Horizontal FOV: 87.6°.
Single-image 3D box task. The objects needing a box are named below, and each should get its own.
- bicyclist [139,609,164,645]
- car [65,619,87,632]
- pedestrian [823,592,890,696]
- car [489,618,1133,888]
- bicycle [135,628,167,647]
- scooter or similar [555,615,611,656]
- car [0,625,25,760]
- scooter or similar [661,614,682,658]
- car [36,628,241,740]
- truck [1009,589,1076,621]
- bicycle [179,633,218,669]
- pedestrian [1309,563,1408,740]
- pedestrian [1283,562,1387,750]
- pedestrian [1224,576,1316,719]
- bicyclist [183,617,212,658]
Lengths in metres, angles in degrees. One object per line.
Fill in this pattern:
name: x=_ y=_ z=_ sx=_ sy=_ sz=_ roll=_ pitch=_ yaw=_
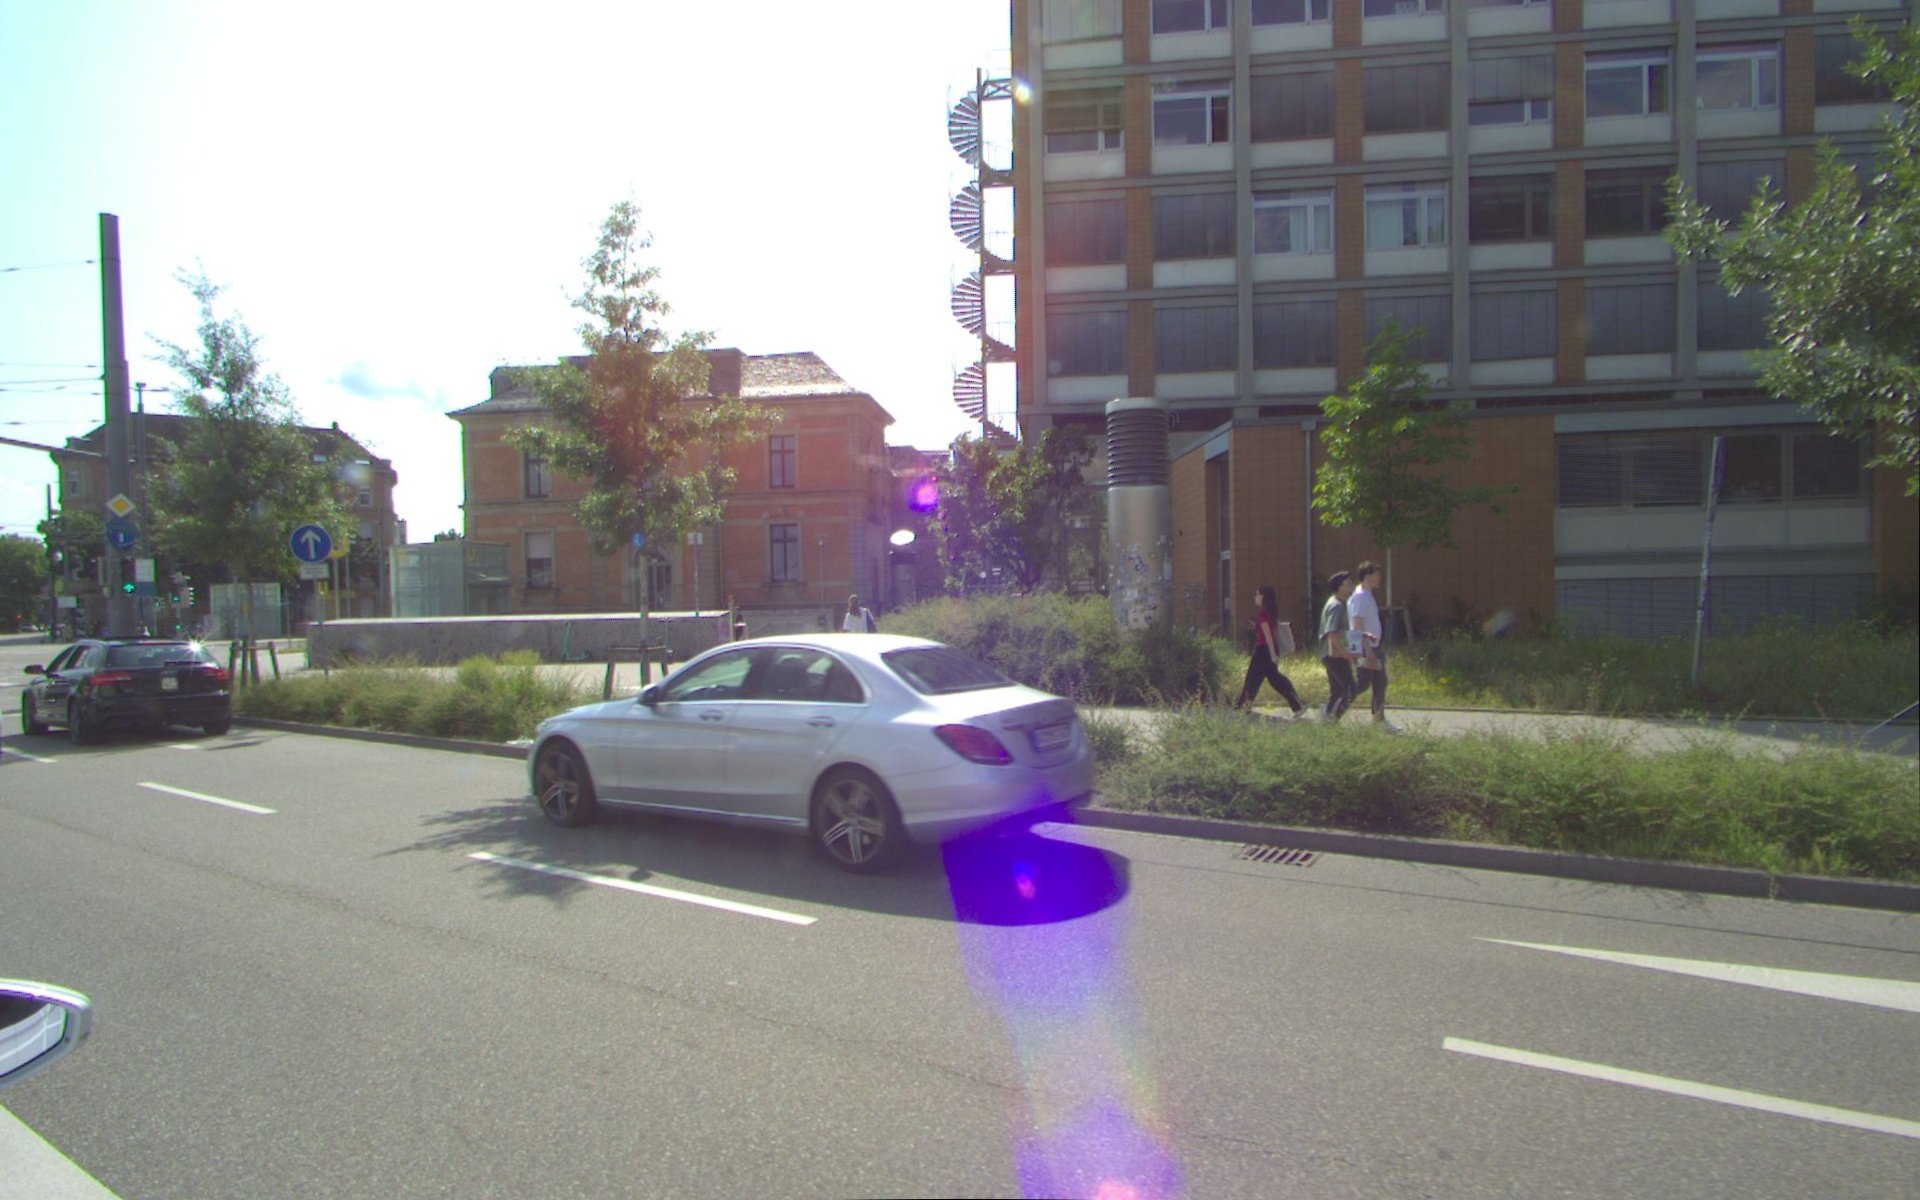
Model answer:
bicyclist: x=-33.642 y=1.116 z=41.658 sx=0.763 sy=1.470 sz=0.606 roll=-1 pitch=0 yaw=34
car: x=-115.323 y=3.350 z=130.624 sx=1.820 sy=1.673 sz=3.971 roll=0 pitch=-2 yaw=-37
pedestrian: x=-1.737 y=0.715 z=16.705 sx=0.607 sy=1.644 sz=1.089 roll=-4 pitch=2 yaw=-34
car: x=-1.265 y=0.902 z=7.542 sx=4.691 sy=1.474 sz=1.927 roll=-1 pitch=-1 yaw=32
bicycle: x=-33.676 y=1.563 z=41.673 sx=1.599 sy=0.786 sz=0.583 roll=-1 pitch=0 yaw=34
scooter or similar: x=-10.657 y=1.010 z=28.324 sx=1.420 sy=1.133 sz=0.465 roll=-1 pitch=2 yaw=13
car: x=-12.240 y=1.023 z=11.305 sx=3.946 sy=1.441 sz=1.644 roll=-1 pitch=0 yaw=35
scooter or similar: x=-7.747 y=0.950 z=26.942 sx=0.457 sy=1.119 sz=1.316 roll=-1 pitch=1 yaw=-13
car: x=-12.306 y=1.137 z=14.919 sx=4.085 sy=1.390 sz=1.691 roll=-1 pitch=0 yaw=41
truck: x=5.558 y=0.366 z=67.187 sx=4.305 sy=2.039 sz=2.000 roll=-1 pitch=-2 yaw=11
bicycle: x=-23.675 y=1.558 z=31.159 sx=0.838 sy=0.983 sz=1.947 roll=-4 pitch=2 yaw=-35
pedestrian: x=4.217 y=0.521 z=10.568 sx=0.875 sy=1.770 sz=0.741 roll=-1 pitch=2 yaw=26
pedestrian: x=3.738 y=0.533 z=9.965 sx=0.875 sy=1.778 sz=0.741 roll=-1 pitch=2 yaw=25
pedestrian: x=3.727 y=0.552 z=12.030 sx=0.877 sy=1.644 sz=0.612 roll=-1 pitch=3 yaw=33
bicyclist: x=-23.783 y=1.163 z=31.242 sx=0.629 sy=1.237 sz=0.917 roll=-3 pitch=2 yaw=-36
